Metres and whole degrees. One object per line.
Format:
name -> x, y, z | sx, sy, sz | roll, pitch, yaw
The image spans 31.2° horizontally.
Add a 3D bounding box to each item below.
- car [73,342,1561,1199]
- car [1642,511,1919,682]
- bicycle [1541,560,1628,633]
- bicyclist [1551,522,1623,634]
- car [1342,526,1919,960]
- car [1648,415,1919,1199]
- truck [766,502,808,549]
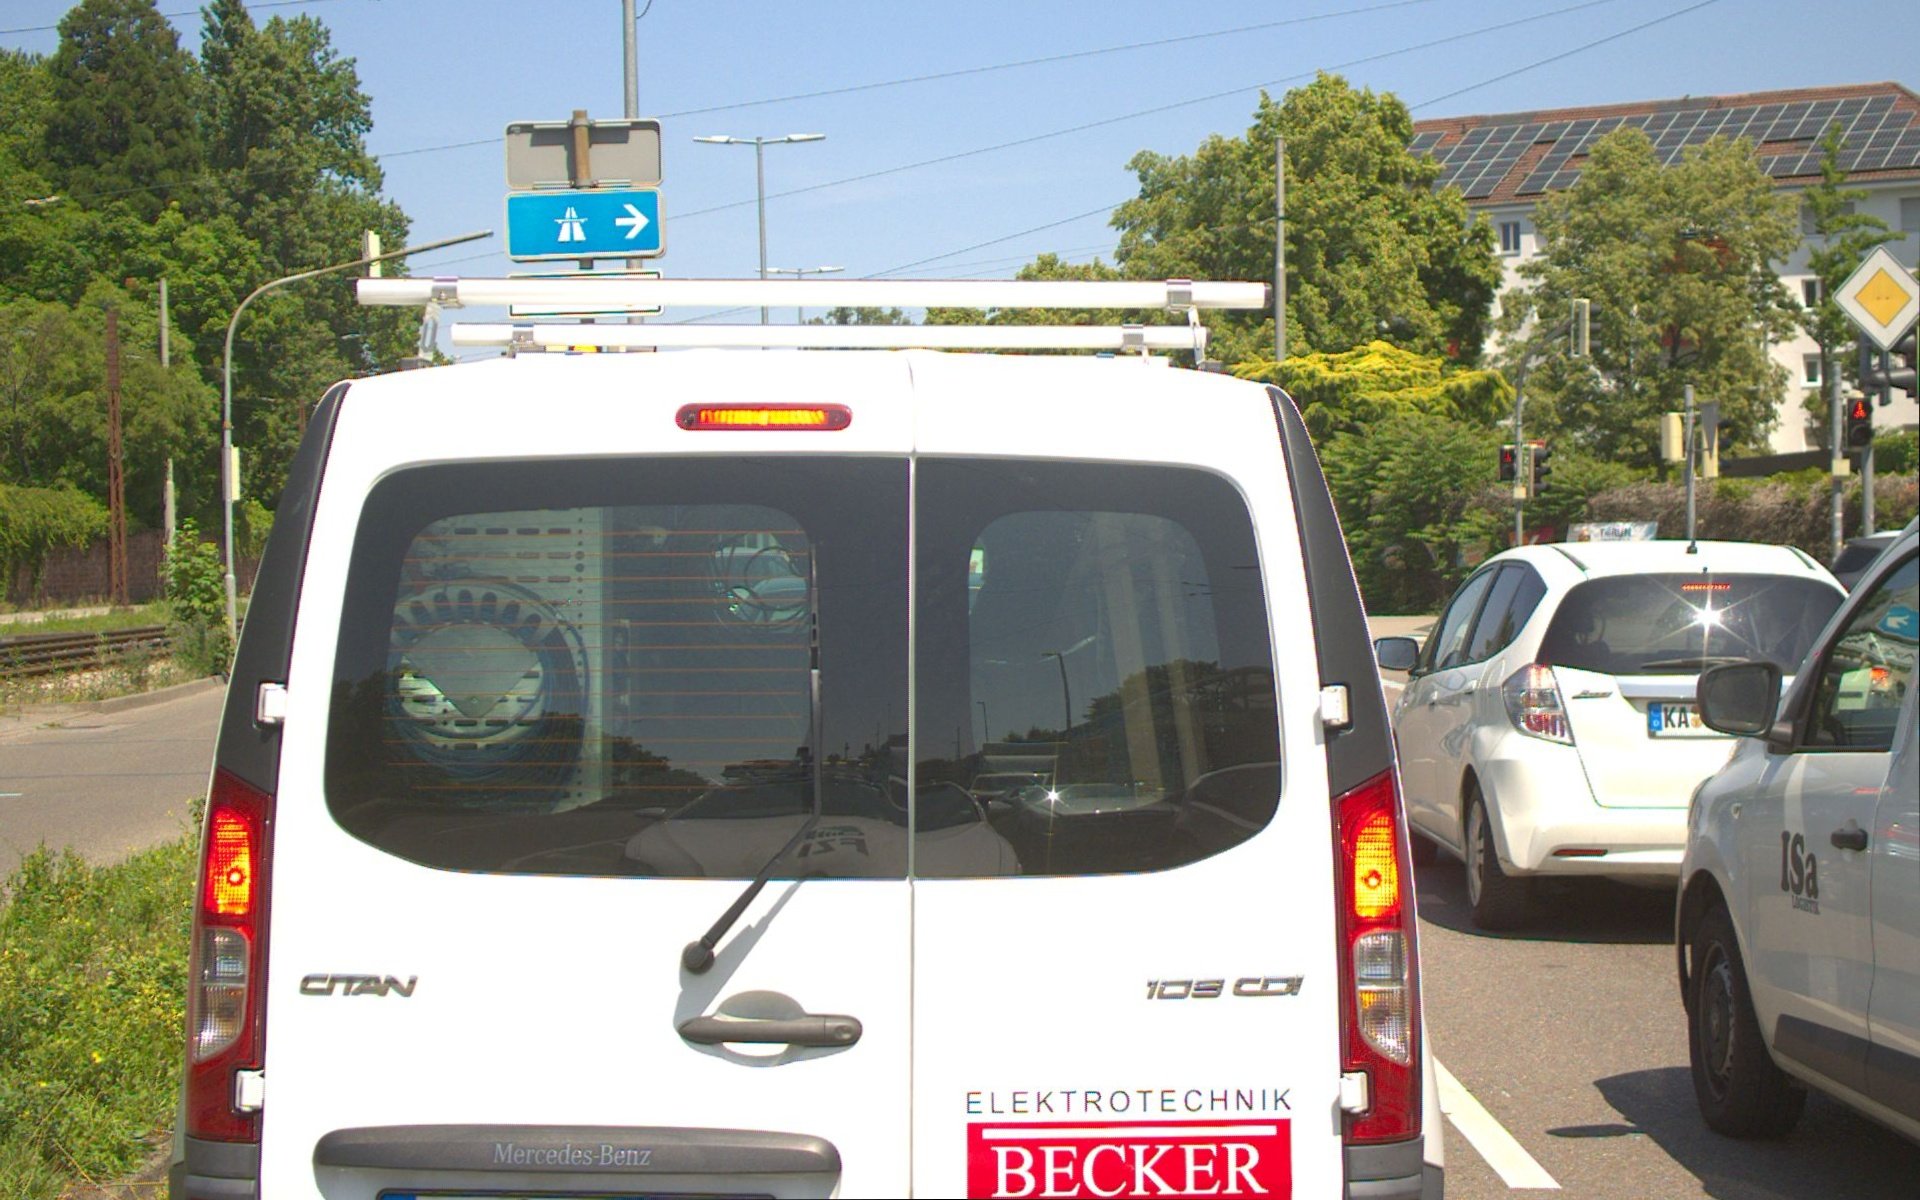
car -> -0.203, 0.531, 6.431 | 1.821, 1.734, 4.396 | 1, 1, -1
car -> 8.675, -0.051, 33.315 | 3.989, 1.591, 1.698 | 1, 1, 13
bicycle -> 10.054, -0.071, 55.411 | 0.892, 1.155, 1.956 | 0, 1, -5
bicyclist -> 10.092, -0.359, 55.382 | 0.973, 1.782, 0.726 | 0, 0, -5
car -> 2.803, 0.485, 14.665 | 1.835, 1.563, 4.000 | 1, 1, -1
car -> 2.781, 0.524, 7.228 | 1.727, 1.782, 4.065 | 1, 1, -2
truck -> -9.701, -4.165, 193.197 | 2.139, 2.579, 5.890 | 1, 1, -1
